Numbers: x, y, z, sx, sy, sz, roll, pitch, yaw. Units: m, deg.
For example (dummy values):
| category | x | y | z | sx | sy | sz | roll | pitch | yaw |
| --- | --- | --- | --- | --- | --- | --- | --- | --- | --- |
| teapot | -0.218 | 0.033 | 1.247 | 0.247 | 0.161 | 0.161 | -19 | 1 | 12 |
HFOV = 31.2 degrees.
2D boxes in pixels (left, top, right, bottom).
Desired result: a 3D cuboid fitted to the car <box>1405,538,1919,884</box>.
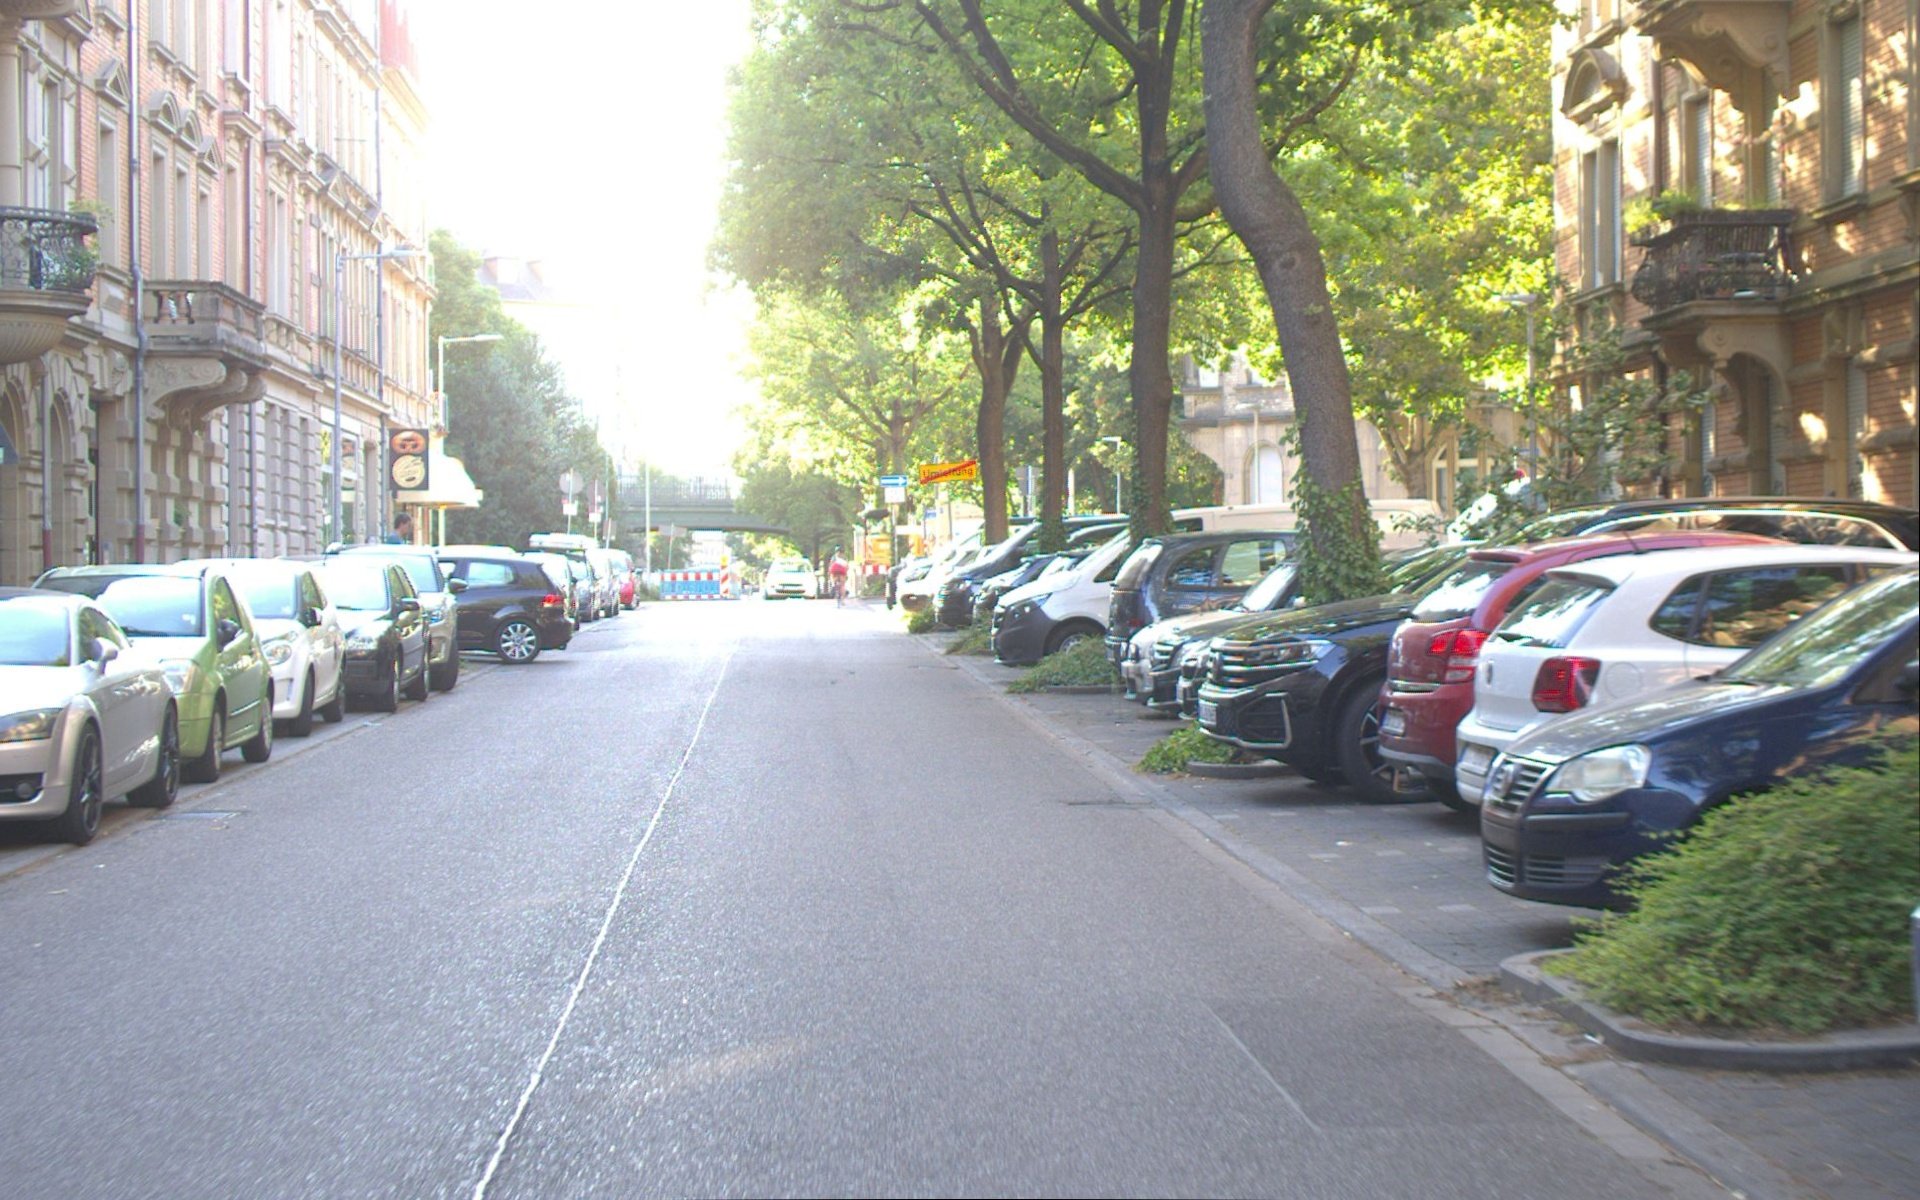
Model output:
| category | x | y | z | sx | sy | sz | roll | pitch | yaw |
| --- | --- | --- | --- | --- | --- | --- | --- | --- | --- |
| car | 4.227 | 0.450 | 15.884 | 3.986 | 1.457 | 1.783 | -1 | 1 | -6 |

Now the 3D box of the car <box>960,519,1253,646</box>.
| category | x | y | z | sx | sy | sz | roll | pitch | yaw |
| --- | --- | --- | --- | --- | --- | --- | --- | --- | --- |
| car | 2.233 | -0.286 | 53.175 | 4.267 | 1.878 | 1.940 | -1 | 1 | -6 |

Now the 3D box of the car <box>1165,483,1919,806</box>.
| category | x | y | z | sx | sy | sz | roll | pitch | yaw |
| --- | --- | --- | --- | --- | --- | --- | --- | --- | --- |
| car | 3.717 | 0.221 | 20.765 | 4.644 | 1.696 | 1.882 | -2 | 1 | -6 |

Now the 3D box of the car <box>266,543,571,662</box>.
| category | x | y | z | sx | sy | sz | roll | pitch | yaw |
| --- | --- | --- | --- | --- | --- | --- | --- | --- | --- |
| car | -7.321 | 0.010 | 46.597 | 3.986 | 1.524 | 1.826 | -1 | 1 | -8 |

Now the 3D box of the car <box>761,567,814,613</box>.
| category | x | y | z | sx | sy | sz | roll | pitch | yaw |
| --- | --- | --- | --- | --- | --- | --- | --- | --- | --- |
| car | -5.795 | -0.350 | 115.380 | 1.749 | 1.504 | 4.001 | 0 | 1 | -3 |

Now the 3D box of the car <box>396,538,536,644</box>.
| category | x | y | z | sx | sy | sz | roll | pitch | yaw |
| --- | --- | --- | --- | --- | --- | --- | --- | --- | --- |
| car | -7.586 | -0.170 | 53.105 | 1.741 | 1.562 | 3.895 | 0 | 1 | -2 |

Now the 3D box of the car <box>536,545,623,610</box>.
| category | x | y | z | sx | sy | sz | roll | pitch | yaw |
| --- | --- | --- | --- | --- | --- | --- | --- | --- | --- |
| car | -8.844 | -0.545 | 80.161 | 1.725 | 1.432 | 3.996 | 2 | 1 | -2 |

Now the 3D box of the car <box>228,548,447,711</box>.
| category | x | y | z | sx | sy | sz | roll | pitch | yaw |
| --- | --- | --- | --- | --- | --- | --- | --- | --- | --- |
| car | -6.199 | 0.254 | 34.593 | 1.647 | 1.468 | 4.001 | 2 | 1 | -3 |

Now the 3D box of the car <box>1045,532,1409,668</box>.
| category | x | y | z | sx | sy | sz | roll | pitch | yaw |
| --- | --- | --- | --- | --- | --- | --- | --- | --- | --- |
| car | 3.163 | -0.022 | 41.106 | 3.986 | 1.469 | 1.782 | -2 | 1 | -10 |

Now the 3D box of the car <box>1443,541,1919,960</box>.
| category | x | y | z | sx | sy | sz | roll | pitch | yaw |
| --- | --- | --- | --- | --- | --- | --- | --- | --- | --- |
| car | 4.021 | 0.465 | 13.161 | 3.986 | 1.383 | 1.678 | -3 | 1 | -3 |

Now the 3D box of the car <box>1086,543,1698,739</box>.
| category | x | y | z | sx | sy | sz | roll | pitch | yaw |
| --- | --- | --- | --- | --- | --- | --- | --- | --- | --- |
| car | 3.484 | 0.303 | 28.225 | 4.658 | 1.498 | 1.933 | -1 | 1 | -6 |

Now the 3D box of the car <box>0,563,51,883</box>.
| category | x | y | z | sx | sy | sz | roll | pitch | yaw |
| --- | --- | --- | --- | --- | --- | --- | --- | --- | --- |
| car | -5.286 | 0.582 | 14.694 | 1.821 | 1.472 | 4.424 | 1 | 1 | -3 |

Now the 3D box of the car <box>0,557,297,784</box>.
| category | x | y | z | sx | sy | sz | roll | pitch | yaw |
| --- | --- | --- | --- | --- | --- | --- | --- | --- | --- |
| car | -5.830 | 0.432 | 24.235 | 1.705 | 1.434 | 3.959 | -1 | 1 | -3 |

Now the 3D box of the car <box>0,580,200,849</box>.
| category | x | y | z | sx | sy | sz | roll | pitch | yaw |
| --- | --- | --- | --- | --- | --- | --- | --- | --- | --- |
| car | -5.547 | 0.578 | 19.565 | 1.705 | 1.318 | 4.102 | -1 | 1 | -3 |

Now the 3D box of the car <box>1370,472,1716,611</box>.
| category | x | y | z | sx | sy | sz | roll | pitch | yaw |
| --- | --- | --- | --- | --- | --- | --- | --- | --- | --- |
| car | 10.815 | -1.089 | 64.026 | 5.893 | 2.528 | 2.381 | 0 | 1 | -9 |

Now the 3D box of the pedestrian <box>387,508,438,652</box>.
| category | x | y | z | sx | sy | sz | roll | pitch | yaw |
| --- | --- | --- | --- | --- | --- | --- | --- | --- | --- |
| pedestrian | -7.267 | -0.269 | 45.597 | 0.638 | 1.881 | 0.592 | -1 | 1 | -10 |

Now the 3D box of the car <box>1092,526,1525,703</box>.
| category | x | y | z | sx | sy | sz | roll | pitch | yaw |
| --- | --- | --- | --- | --- | --- | --- | --- | --- | --- |
| car | 3.354 | 0.117 | 33.460 | 3.883 | 1.643 | 1.725 | -1 | 1 | -7 |

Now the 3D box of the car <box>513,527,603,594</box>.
| category | x | y | z | sx | sy | sz | roll | pitch | yaw |
| --- | --- | --- | --- | --- | --- | --- | --- | --- | --- |
| car | -8.730 | -0.874 | 74.936 | 1.764 | 1.432 | 4.301 | 0 | 1 | -4 |

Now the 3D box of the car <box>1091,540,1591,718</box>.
| category | x | y | z | sx | sy | sz | roll | pitch | yaw |
| --- | --- | --- | --- | --- | --- | --- | --- | --- | --- |
| car | 3.347 | 0.230 | 30.619 | 4.104 | 1.498 | 1.811 | -1 | 1 | -7 |

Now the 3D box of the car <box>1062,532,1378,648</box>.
| category | x | y | z | sx | sy | sz | roll | pitch | yaw |
| --- | --- | --- | --- | --- | --- | --- | --- | --- | --- |
| car | 3.491 | -0.148 | 46.668 | 4.081 | 1.492 | 1.843 | -1 | 1 | -2 |

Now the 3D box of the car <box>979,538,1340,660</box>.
| category | x | y | z | sx | sy | sz | roll | pitch | yaw |
| --- | --- | --- | --- | --- | --- | --- | --- | --- | --- |
| car | 2.474 | -0.033 | 43.425 | 4.369 | 1.450 | 1.934 | -1 | 1 | -2 |

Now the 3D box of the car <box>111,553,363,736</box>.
| category | x | y | z | sx | sy | sz | roll | pitch | yaw |
| --- | --- | --- | --- | --- | --- | --- | --- | --- | --- |
| car | -6.288 | 0.338 | 30.261 | 1.581 | 1.468 | 4.001 | -1 | 1 | -3 |

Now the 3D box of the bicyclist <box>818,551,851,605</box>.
| category | x | y | z | sx | sy | sz | roll | pitch | yaw |
| --- | --- | --- | --- | --- | --- | --- | --- | --- | --- |
| bicyclist | -3.214 | -0.562 | 87.895 | 0.803 | 1.378 | 0.985 | 1 | 1 | -4 |

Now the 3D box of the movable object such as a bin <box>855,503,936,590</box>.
| category | x | y | z | sx | sy | sz | roll | pitch | yaw |
| --- | --- | --- | --- | --- | --- | --- | --- | --- | --- |
| movable object such as a bin | -2.023 | -1.681 | 108.448 | 1.994 | 2.690 | 3.109 | 0 | 0 | 10 |

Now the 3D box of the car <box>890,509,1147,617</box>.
| category | x | y | z | sx | sy | sz | roll | pitch | yaw |
| --- | --- | --- | --- | --- | --- | --- | --- | --- | --- |
| car | 1.121 | -0.735 | 68.363 | 4.973 | 2.089 | 2.106 | 0 | 1 | -3 |

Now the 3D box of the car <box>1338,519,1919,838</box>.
| category | x | y | z | sx | sy | sz | roll | pitch | yaw |
| --- | --- | --- | --- | --- | --- | --- | --- | --- | --- |
| car | 4.191 | 0.369 | 18.481 | 3.986 | 1.585 | 1.783 | -1 | 1 | -6 |

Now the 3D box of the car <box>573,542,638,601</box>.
| category | x | y | z | sx | sy | sz | roll | pitch | yaw |
| --- | --- | --- | --- | --- | --- | --- | --- | --- | --- |
| car | -9.311 | -0.747 | 90.483 | 1.669 | 1.525 | 4.001 | 0 | 1 | -5 |

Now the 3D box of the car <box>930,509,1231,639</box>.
| category | x | y | z | sx | sy | sz | roll | pitch | yaw |
| --- | --- | --- | --- | --- | --- | --- | --- | --- | --- |
| car | 1.904 | -0.430 | 55.348 | 4.614 | 2.007 | 2.000 | -1 | 1 | -5 |

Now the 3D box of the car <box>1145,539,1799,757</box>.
| category | x | y | z | sx | sy | sz | roll | pitch | yaw |
| --- | --- | --- | --- | --- | --- | --- | --- | --- | --- |
| car | 3.735 | 0.328 | 25.687 | 4.552 | 1.524 | 2.000 | 0 | 1 | -1 |

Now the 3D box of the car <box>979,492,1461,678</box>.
| category | x | y | z | sx | sy | sz | roll | pitch | yaw |
| --- | --- | --- | --- | --- | --- | --- | --- | --- | --- |
| car | 2.808 | -0.143 | 38.103 | 5.091 | 1.933 | 2.158 | 0 | -3 | -2 |

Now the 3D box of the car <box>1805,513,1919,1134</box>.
| category | x | y | z | sx | sy | sz | roll | pitch | yaw |
| --- | --- | --- | --- | --- | --- | --- | --- | --- | --- |
| car | 4.473 | 0.543 | 8.597 | 4.221 | 1.530 | 1.801 | 0 | 1 | -6 |

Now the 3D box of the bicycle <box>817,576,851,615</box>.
| category | x | y | z | sx | sy | sz | roll | pitch | yaw |
| --- | --- | --- | --- | --- | --- | --- | --- | --- | --- |
| bicycle | -3.217 | -0.130 | 87.870 | 0.803 | 0.965 | 2.109 | 1 | 1 | -3 |

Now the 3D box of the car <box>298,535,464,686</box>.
| category | x | y | z | sx | sy | sz | roll | pitch | yaw |
| --- | --- | --- | --- | --- | --- | --- | --- | --- | --- |
| car | -6.567 | 0.074 | 39.281 | 1.647 | 1.569 | 4.050 | 2 | 1 | -7 |
